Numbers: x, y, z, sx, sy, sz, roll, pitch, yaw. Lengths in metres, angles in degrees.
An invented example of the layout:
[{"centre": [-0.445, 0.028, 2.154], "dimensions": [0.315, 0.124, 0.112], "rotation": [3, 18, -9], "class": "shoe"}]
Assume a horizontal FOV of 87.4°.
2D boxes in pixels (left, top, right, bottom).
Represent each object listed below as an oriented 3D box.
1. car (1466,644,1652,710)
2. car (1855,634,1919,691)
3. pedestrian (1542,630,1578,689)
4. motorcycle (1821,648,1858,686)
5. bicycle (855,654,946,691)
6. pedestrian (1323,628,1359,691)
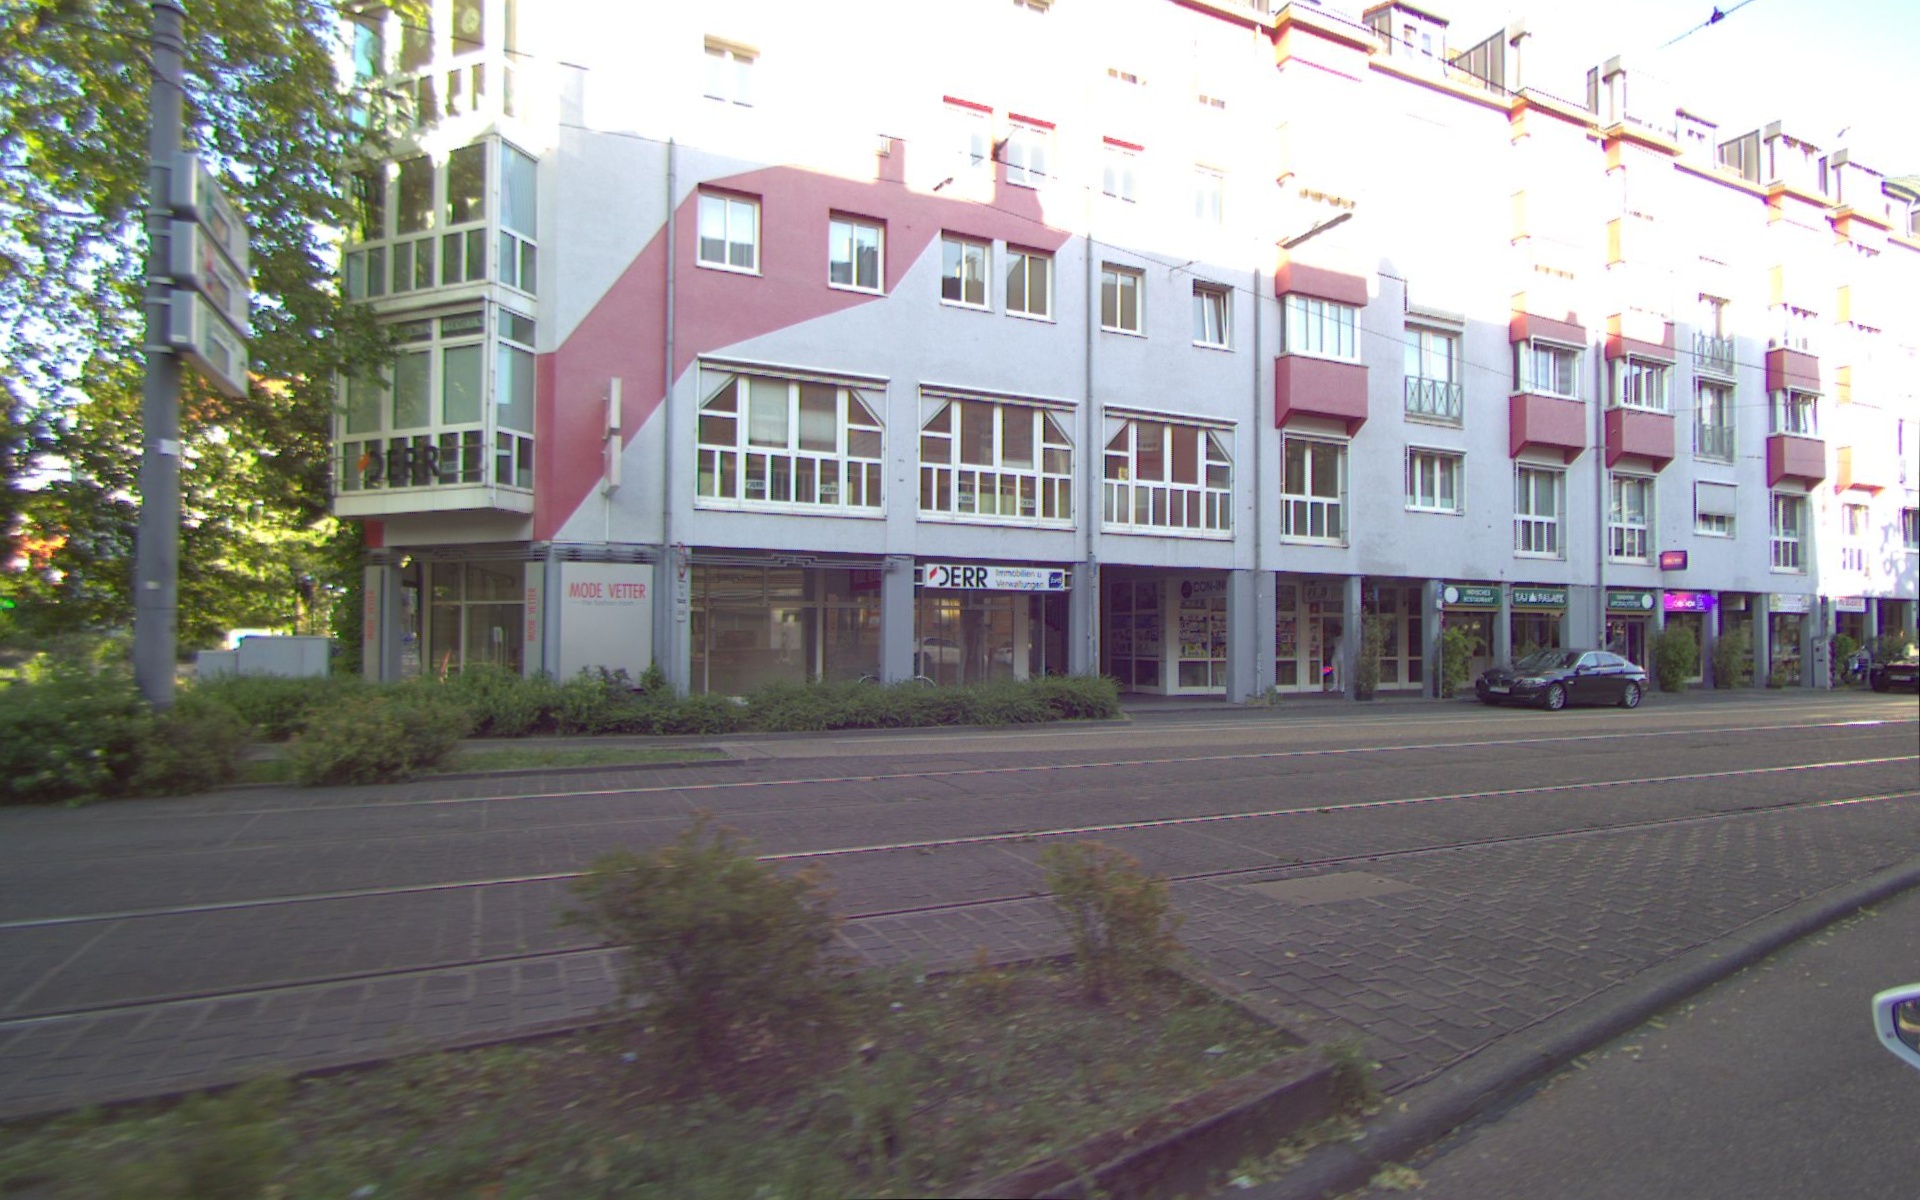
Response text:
[{"centre": [15.052, 1.874, 25.196], "dimensions": [4.647, 1.458, 1.862], "rotation": [1, -1, -28], "class": "car"}, {"centre": [31.994, 2.066, 33.257], "dimensions": [4.761, 1.735, 2.082], "rotation": [2, -1, -29], "class": "car"}, {"centre": [17.951, 1.770, 30.063], "dimensions": [0.736, 1.734, 0.612], "rotation": [1, -1, -27], "class": "pedestrian"}, {"centre": [29.660, 2.250, 33.855], "dimensions": [2.125, 1.221, 0.663], "rotation": [3, -1, -42], "class": "motorcycle"}, {"centre": [-1.162, 1.435, 19.957], "dimensions": [1.789, 0.667, 0.453], "rotation": [1, 1, -31], "class": "bicycle"}, {"centre": [10.706, 1.666, 28.238], "dimensions": [0.608, 1.734, 0.740], "rotation": [1, -1, -28], "class": "pedestrian"}]
